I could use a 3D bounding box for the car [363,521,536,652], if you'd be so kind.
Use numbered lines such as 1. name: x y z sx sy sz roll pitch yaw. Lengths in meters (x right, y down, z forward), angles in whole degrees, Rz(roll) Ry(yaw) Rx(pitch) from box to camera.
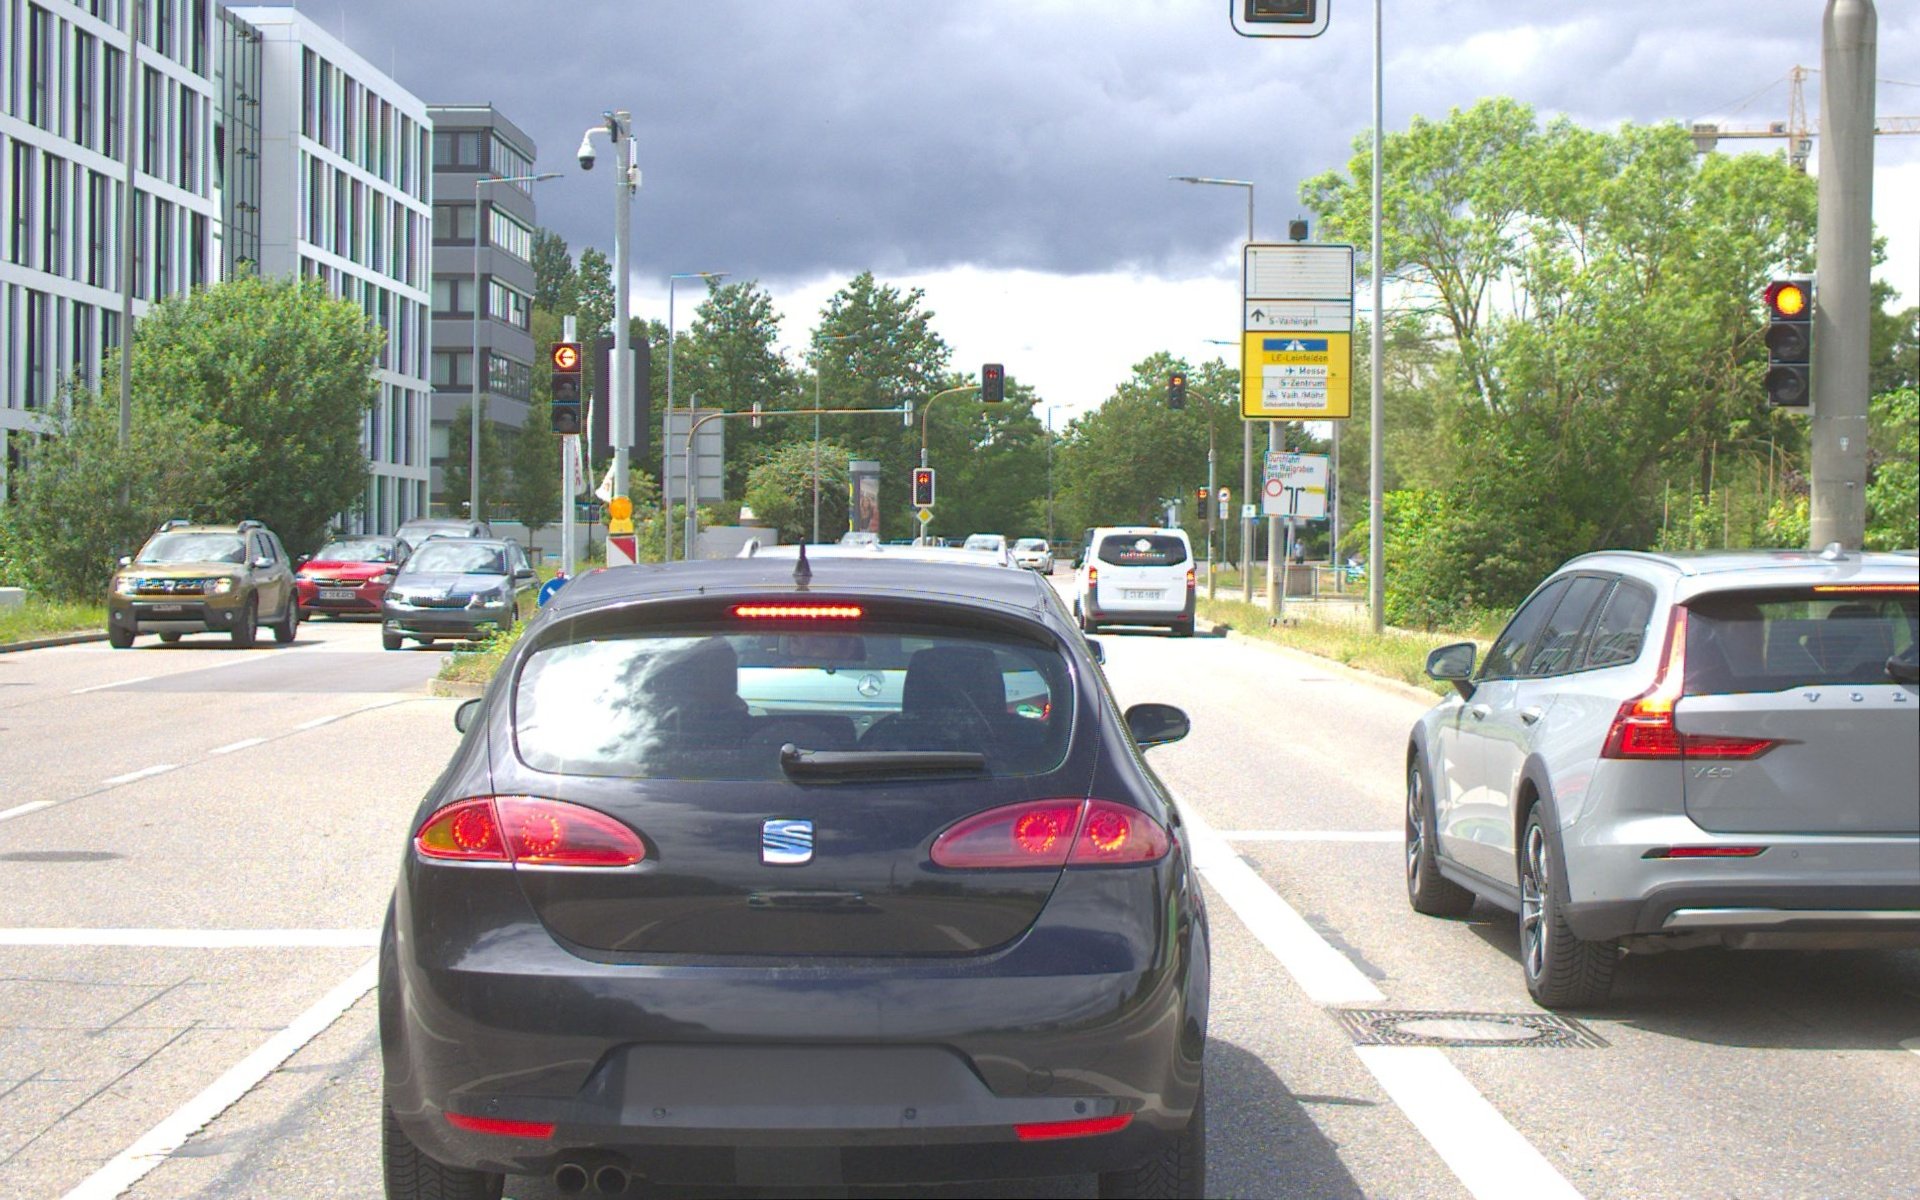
1. car: -6.623 -0.213 44.950 1.668 1.519 4.008 -2 2 -1

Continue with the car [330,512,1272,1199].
1. car: -0.212 0.580 8.481 1.748 1.479 4.000 2 1 3

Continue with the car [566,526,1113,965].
1. car: -0.490 0.508 14.721 1.983 1.585 4.226 1 1 -1

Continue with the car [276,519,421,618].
1. car: -10.238 -0.528 57.780 1.776 1.606 4.000 0 0 -1

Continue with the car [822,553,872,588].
1. car: -4.713 -1.236 143.772 1.993 1.404 4.000 0 0 -1

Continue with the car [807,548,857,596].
1. car: -5.325 -1.176 143.800 1.993 2.007 4.000 0 0 -1

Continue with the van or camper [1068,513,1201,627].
1. van or camper: 2.987 -0.520 59.634 1.899 1.919 4.000 0 0 -3

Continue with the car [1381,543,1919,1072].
1. car: 2.756 0.579 12.184 1.958 1.520 4.340 -1 0 0

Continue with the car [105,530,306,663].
1. car: -9.816 -0.078 44.979 1.751 1.625 4.000 -1 1 -1

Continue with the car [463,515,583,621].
1. car: -8.522 -0.633 67.399 1.993 2.007 4.482 0 0 -3
